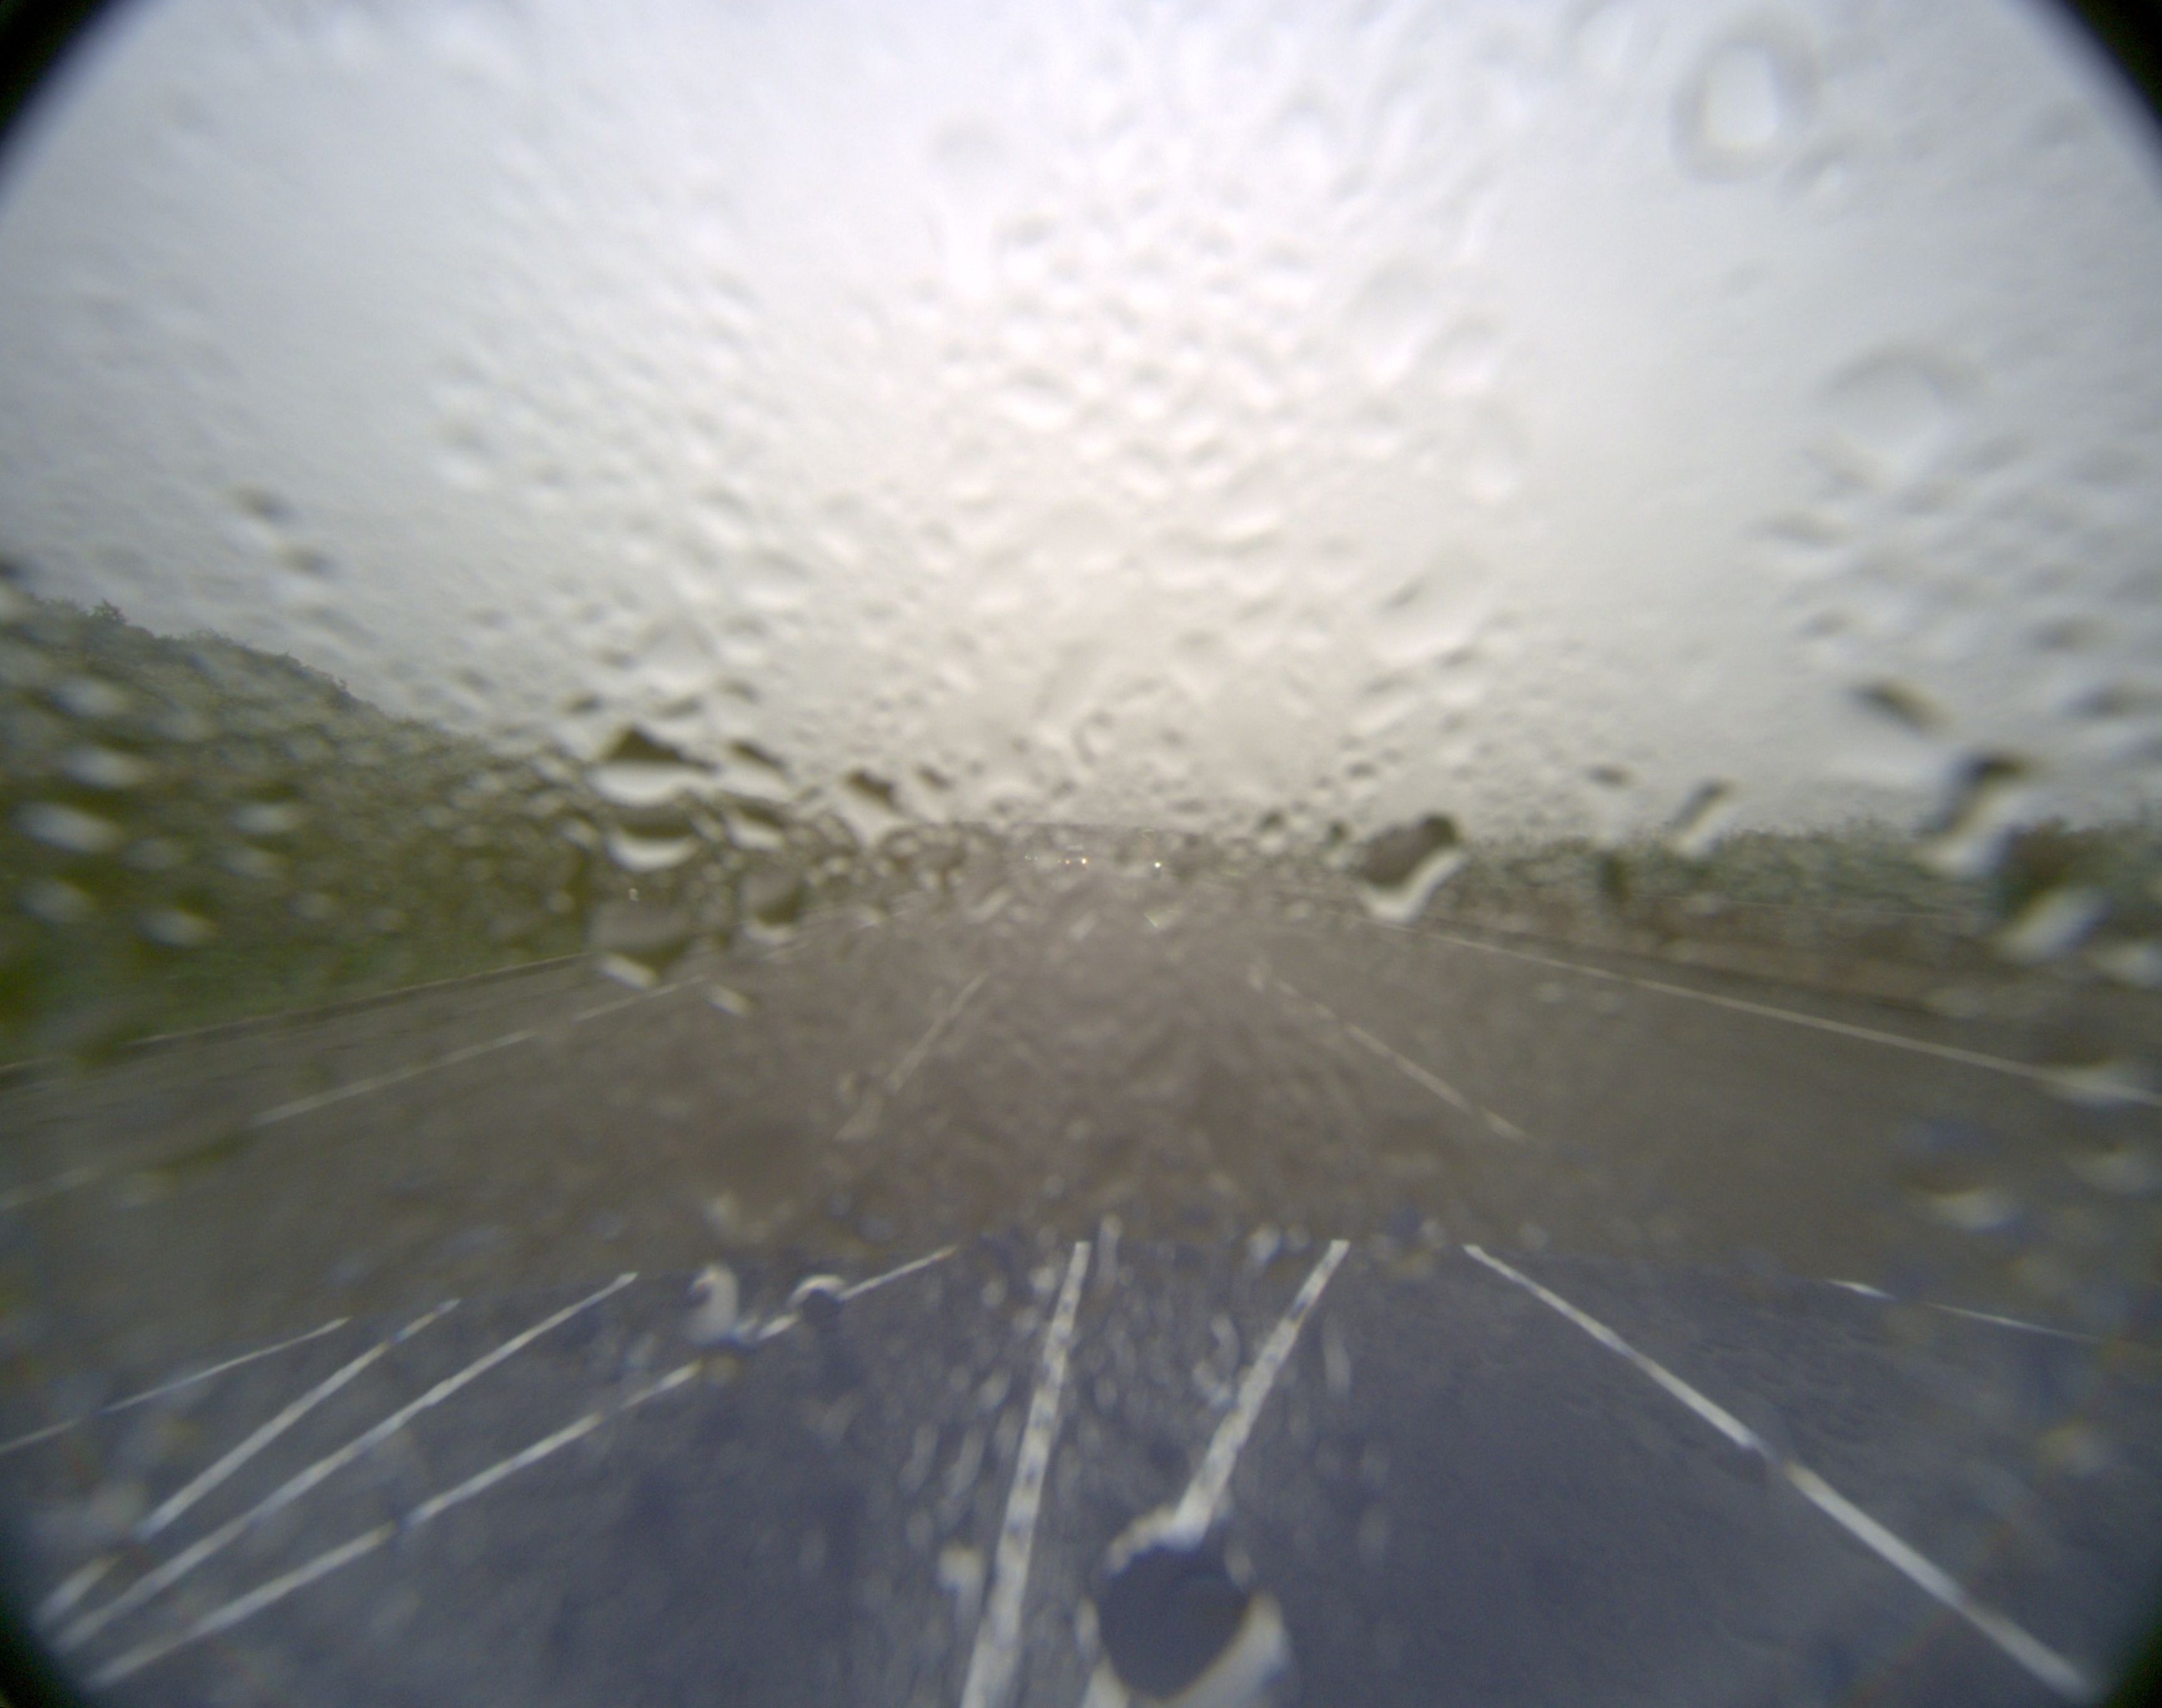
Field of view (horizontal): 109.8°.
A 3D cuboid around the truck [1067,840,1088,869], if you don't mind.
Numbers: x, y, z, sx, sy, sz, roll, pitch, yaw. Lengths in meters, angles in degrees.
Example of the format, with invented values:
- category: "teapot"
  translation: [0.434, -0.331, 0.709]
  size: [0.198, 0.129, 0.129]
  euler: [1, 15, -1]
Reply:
- category: "truck"
  translation: [-0.443, -0.009, 79.179]
  size: [1.999, 2.699, 7.996]
  euler: [-2, 2, -1]

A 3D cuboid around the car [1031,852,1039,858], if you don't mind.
- category: "car"
  translation: [-11.827, 0.304, 196.556]
  size: [1.999, 1.543, 3.998]
  euler: [-2, 0, -4]

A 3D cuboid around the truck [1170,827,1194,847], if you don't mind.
- category: "truck"
  translation: [17.039, -2.869, 128.647]
  size: [3.001, 3.106, 5.593]
  euler: [-2, 2, -2]

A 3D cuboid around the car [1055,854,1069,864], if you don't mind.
- category: "car"
  translation: [-3.158, 0.781, 126.718]
  size: [2.000, 1.521, 3.997]
  euler: [-2, 1, -6]

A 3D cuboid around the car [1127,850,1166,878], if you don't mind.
- category: "car"
  translation: [4.070, 0.592, 47.794]
  size: [1.999, 1.608, 3.999]
  euler: [-1, 1, -2]

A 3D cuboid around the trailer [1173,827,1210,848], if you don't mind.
- category: "trailer"
  translation: [17.352, -2.673, 120.722]
  size: [2.996, 3.126, 15.712]
  euler: [-2, 2, -2]

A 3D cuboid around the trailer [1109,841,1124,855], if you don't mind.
- category: "trailer"
  translation: [10.216, -1.726, 221.519]
  size: [2.952, 3.959, 14.301]
  euler: [-2, 0, -2]
